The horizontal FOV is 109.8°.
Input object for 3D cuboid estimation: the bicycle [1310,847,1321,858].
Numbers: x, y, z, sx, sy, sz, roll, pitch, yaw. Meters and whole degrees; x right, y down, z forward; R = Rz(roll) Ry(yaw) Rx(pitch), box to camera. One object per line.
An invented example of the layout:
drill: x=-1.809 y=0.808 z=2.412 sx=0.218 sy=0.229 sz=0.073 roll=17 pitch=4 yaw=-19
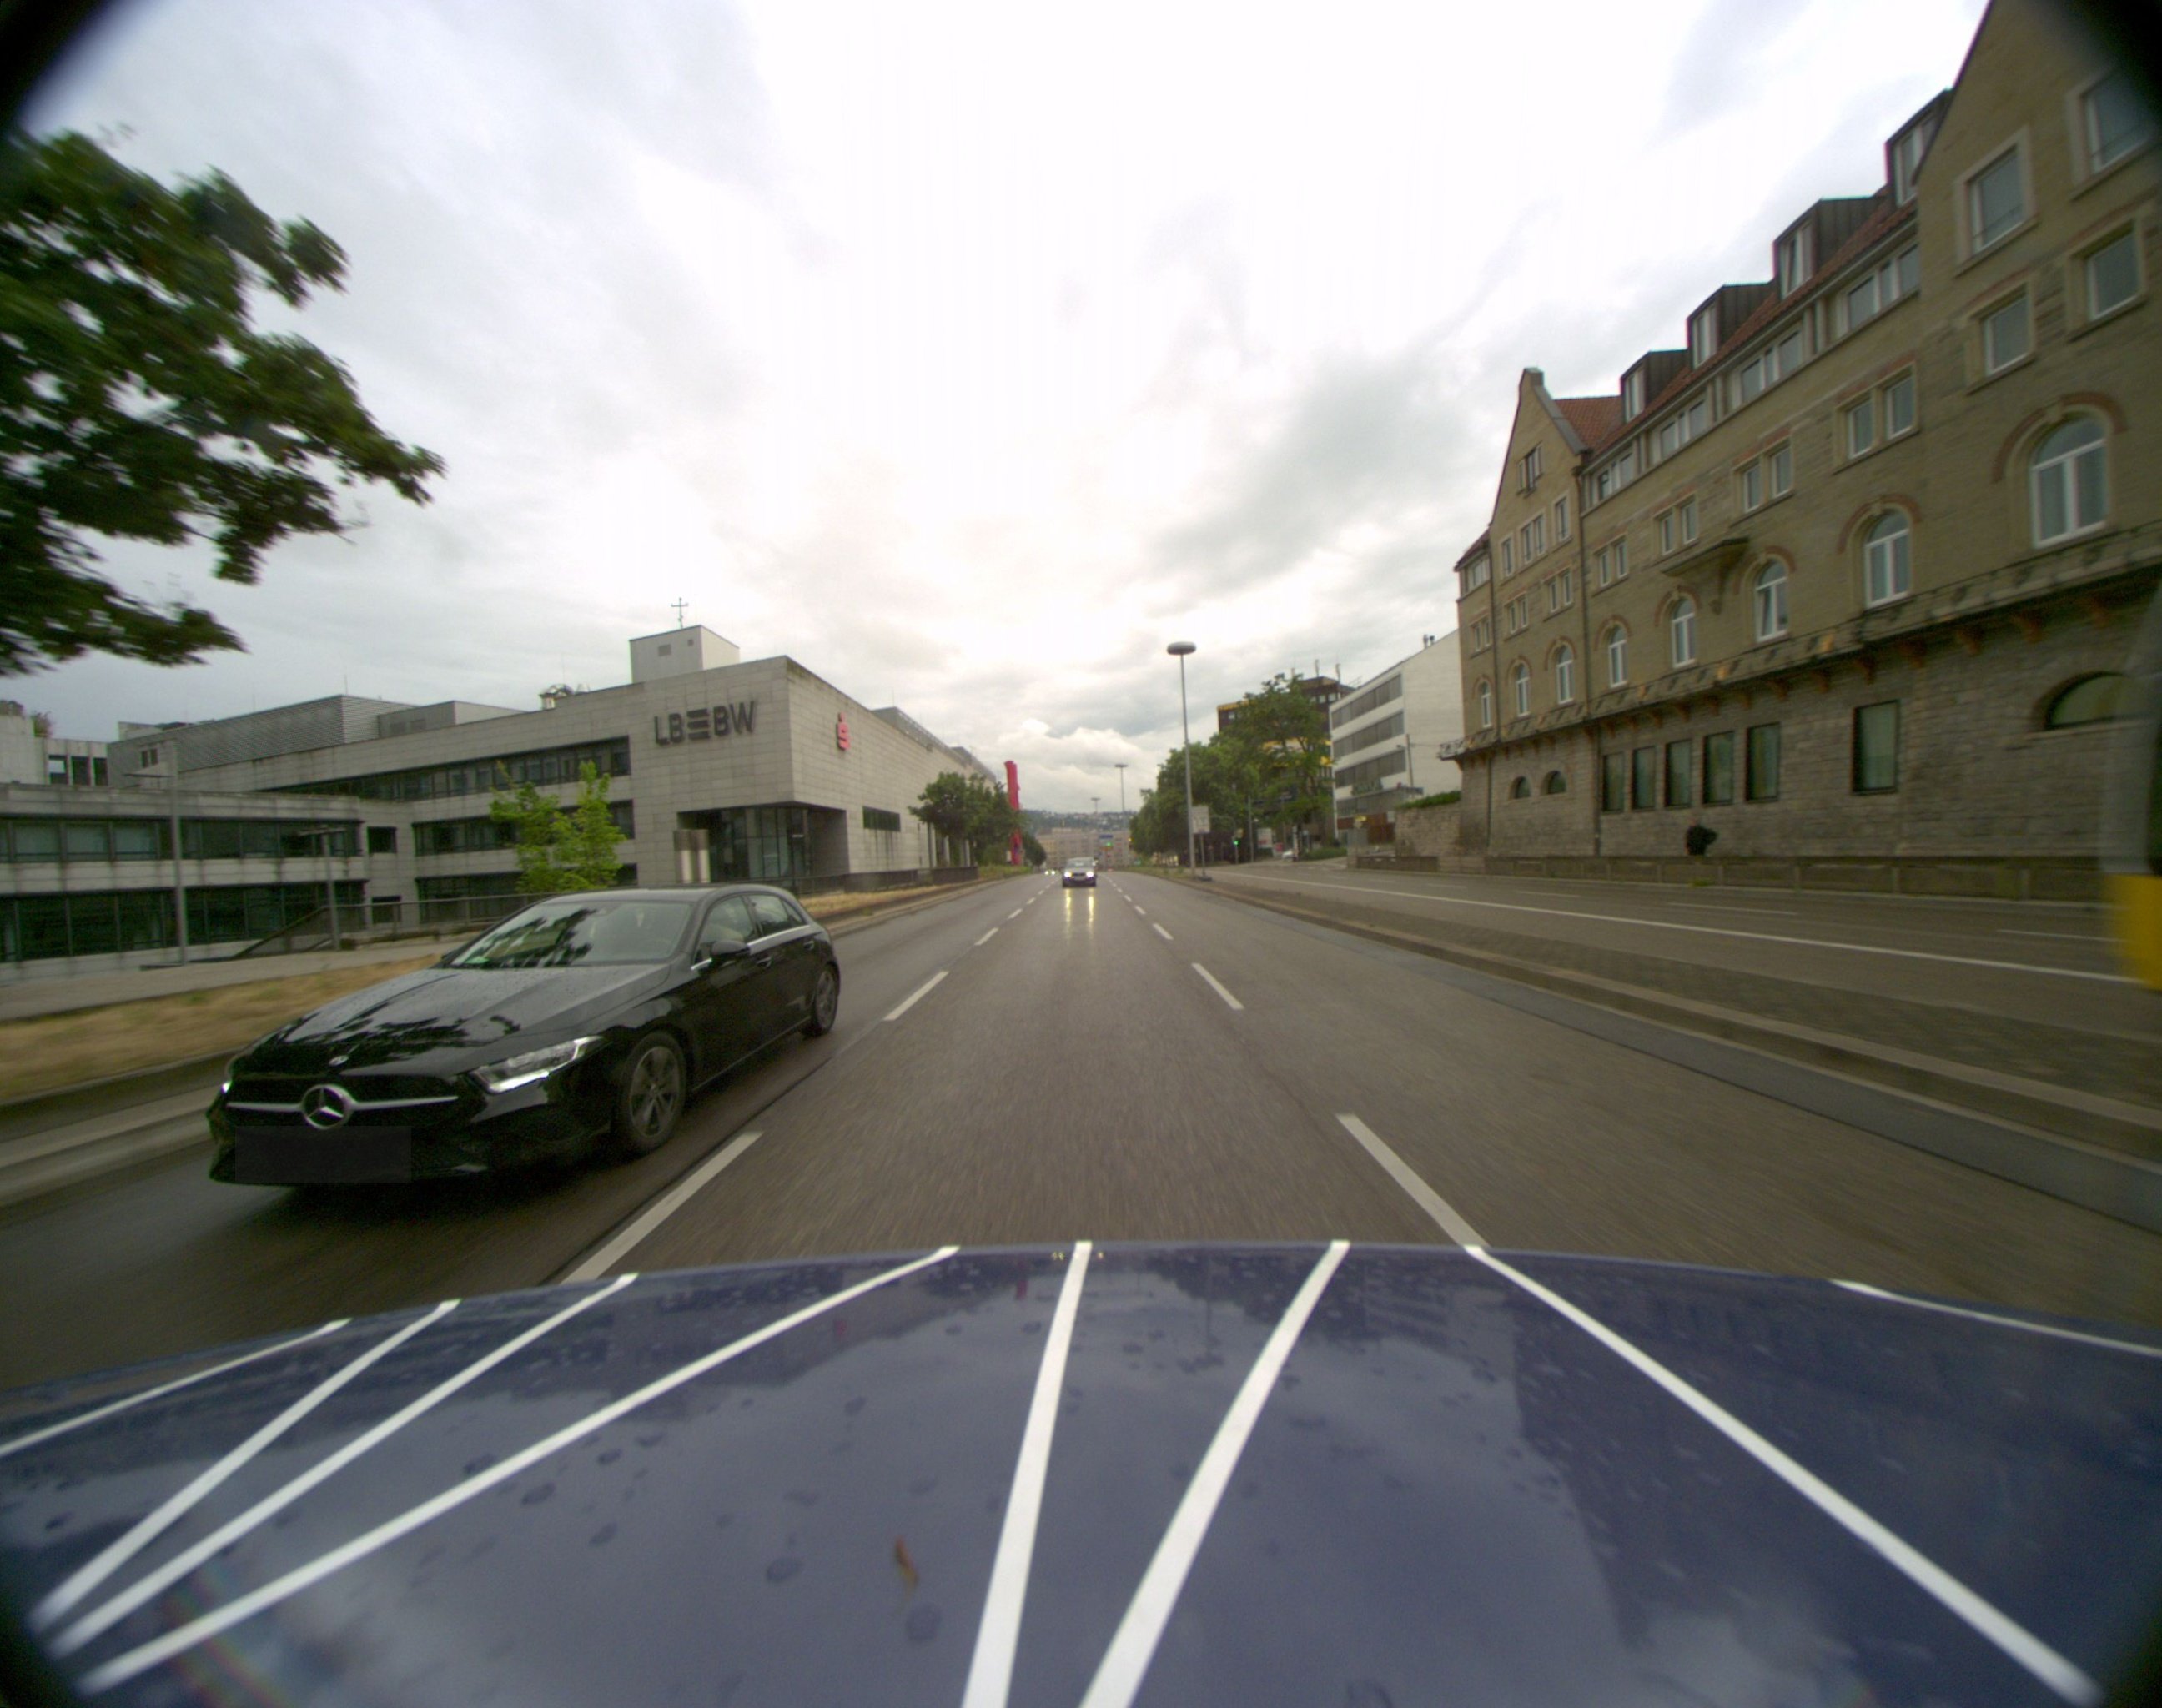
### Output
bicycle: x=21.425 y=-0.152 z=69.505 sx=0.458 sy=0.985 sz=1.758 roll=-3 pitch=0 yaw=0

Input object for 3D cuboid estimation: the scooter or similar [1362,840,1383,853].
scooter or similar: x=25.022 y=-0.665 z=65.239 sx=1.473 sy=0.916 sz=0.444 roll=-7 pitch=-1 yaw=-2

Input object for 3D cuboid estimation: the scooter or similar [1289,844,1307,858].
scooter or similar: x=21.051 y=-0.288 z=73.678 sx=1.757 sy=1.240 sz=0.369 roll=-6 pitch=1 yaw=-29

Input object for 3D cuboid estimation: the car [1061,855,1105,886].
car: x=0.161 y=0.812 z=39.167 sx=1.862 sy=1.428 sz=4.207 roll=-2 pitch=0 yaw=5

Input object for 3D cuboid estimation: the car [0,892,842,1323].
car: x=-3.176 y=1.048 z=4.932 sx=1.877 sy=1.428 sz=4.206 roll=-2 pitch=-1 yaw=0

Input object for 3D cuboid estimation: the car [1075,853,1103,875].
car: x=0.587 y=0.679 z=55.143 sx=1.863 sy=1.449 sz=4.205 roll=-2 pitch=0 yaw=2

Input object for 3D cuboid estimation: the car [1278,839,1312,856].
car: x=25.004 y=-0.749 z=88.572 sx=1.995 sy=1.644 sz=4.852 roll=-5 pitch=0 yaw=39

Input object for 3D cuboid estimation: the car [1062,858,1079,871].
car: x=-1.283 y=1.226 z=88.236 sx=1.863 sy=1.428 sz=4.204 roll=-2 pitch=0 yaw=-1

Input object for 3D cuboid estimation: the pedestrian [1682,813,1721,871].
pedestrian: x=19.253 y=-0.360 z=23.582 sx=0.642 sy=1.735 sz=0.621 roll=-2 pitch=-1 yaw=5
